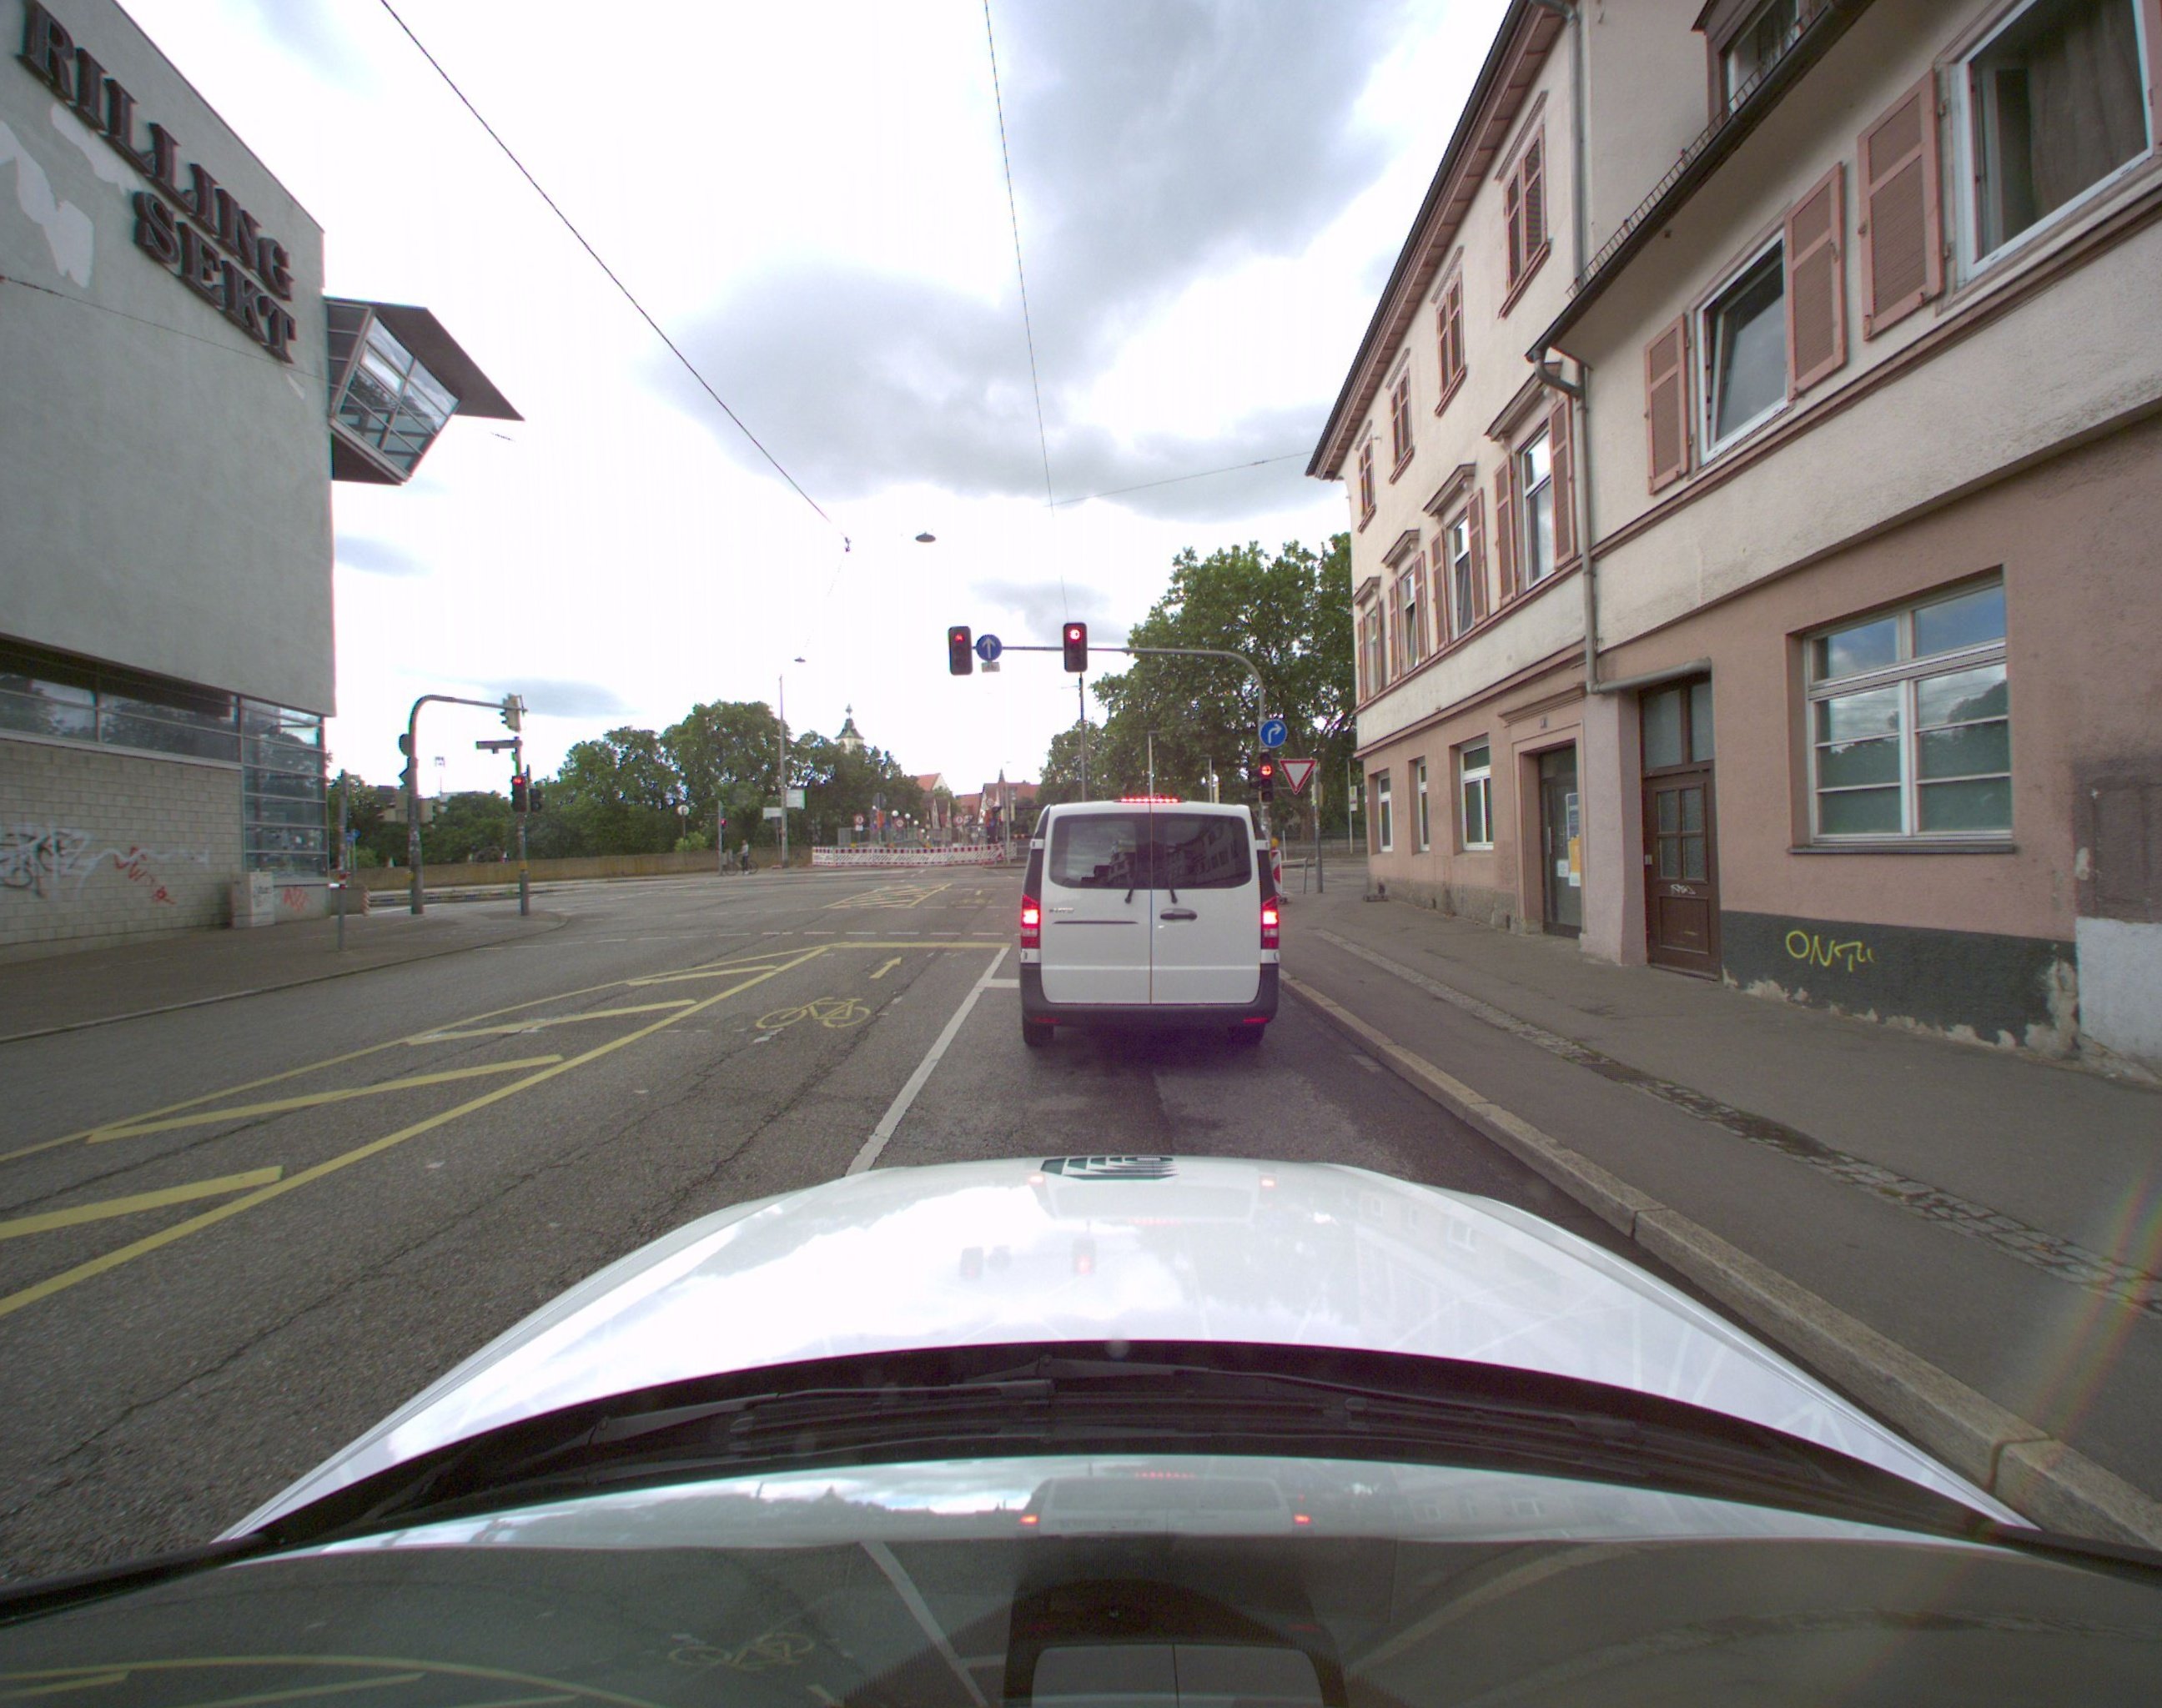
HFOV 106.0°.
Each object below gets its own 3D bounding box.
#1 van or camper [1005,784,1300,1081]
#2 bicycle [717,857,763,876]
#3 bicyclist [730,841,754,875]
[{"bbox_3d":[0.436,0.442,7.543,1.932,1.924,4.439,0,2,-1],"label":"van or camper"},{"bbox_3d":[-18.201,0.645,43.485,2.149,0.892,0.751,-3,2,-39],"label":"bicycle"},{"bbox_3d":[-18.115,0.199,43.544,1.010,1.743,0.746,-2,1,-39],"label":"bicyclist"}]
